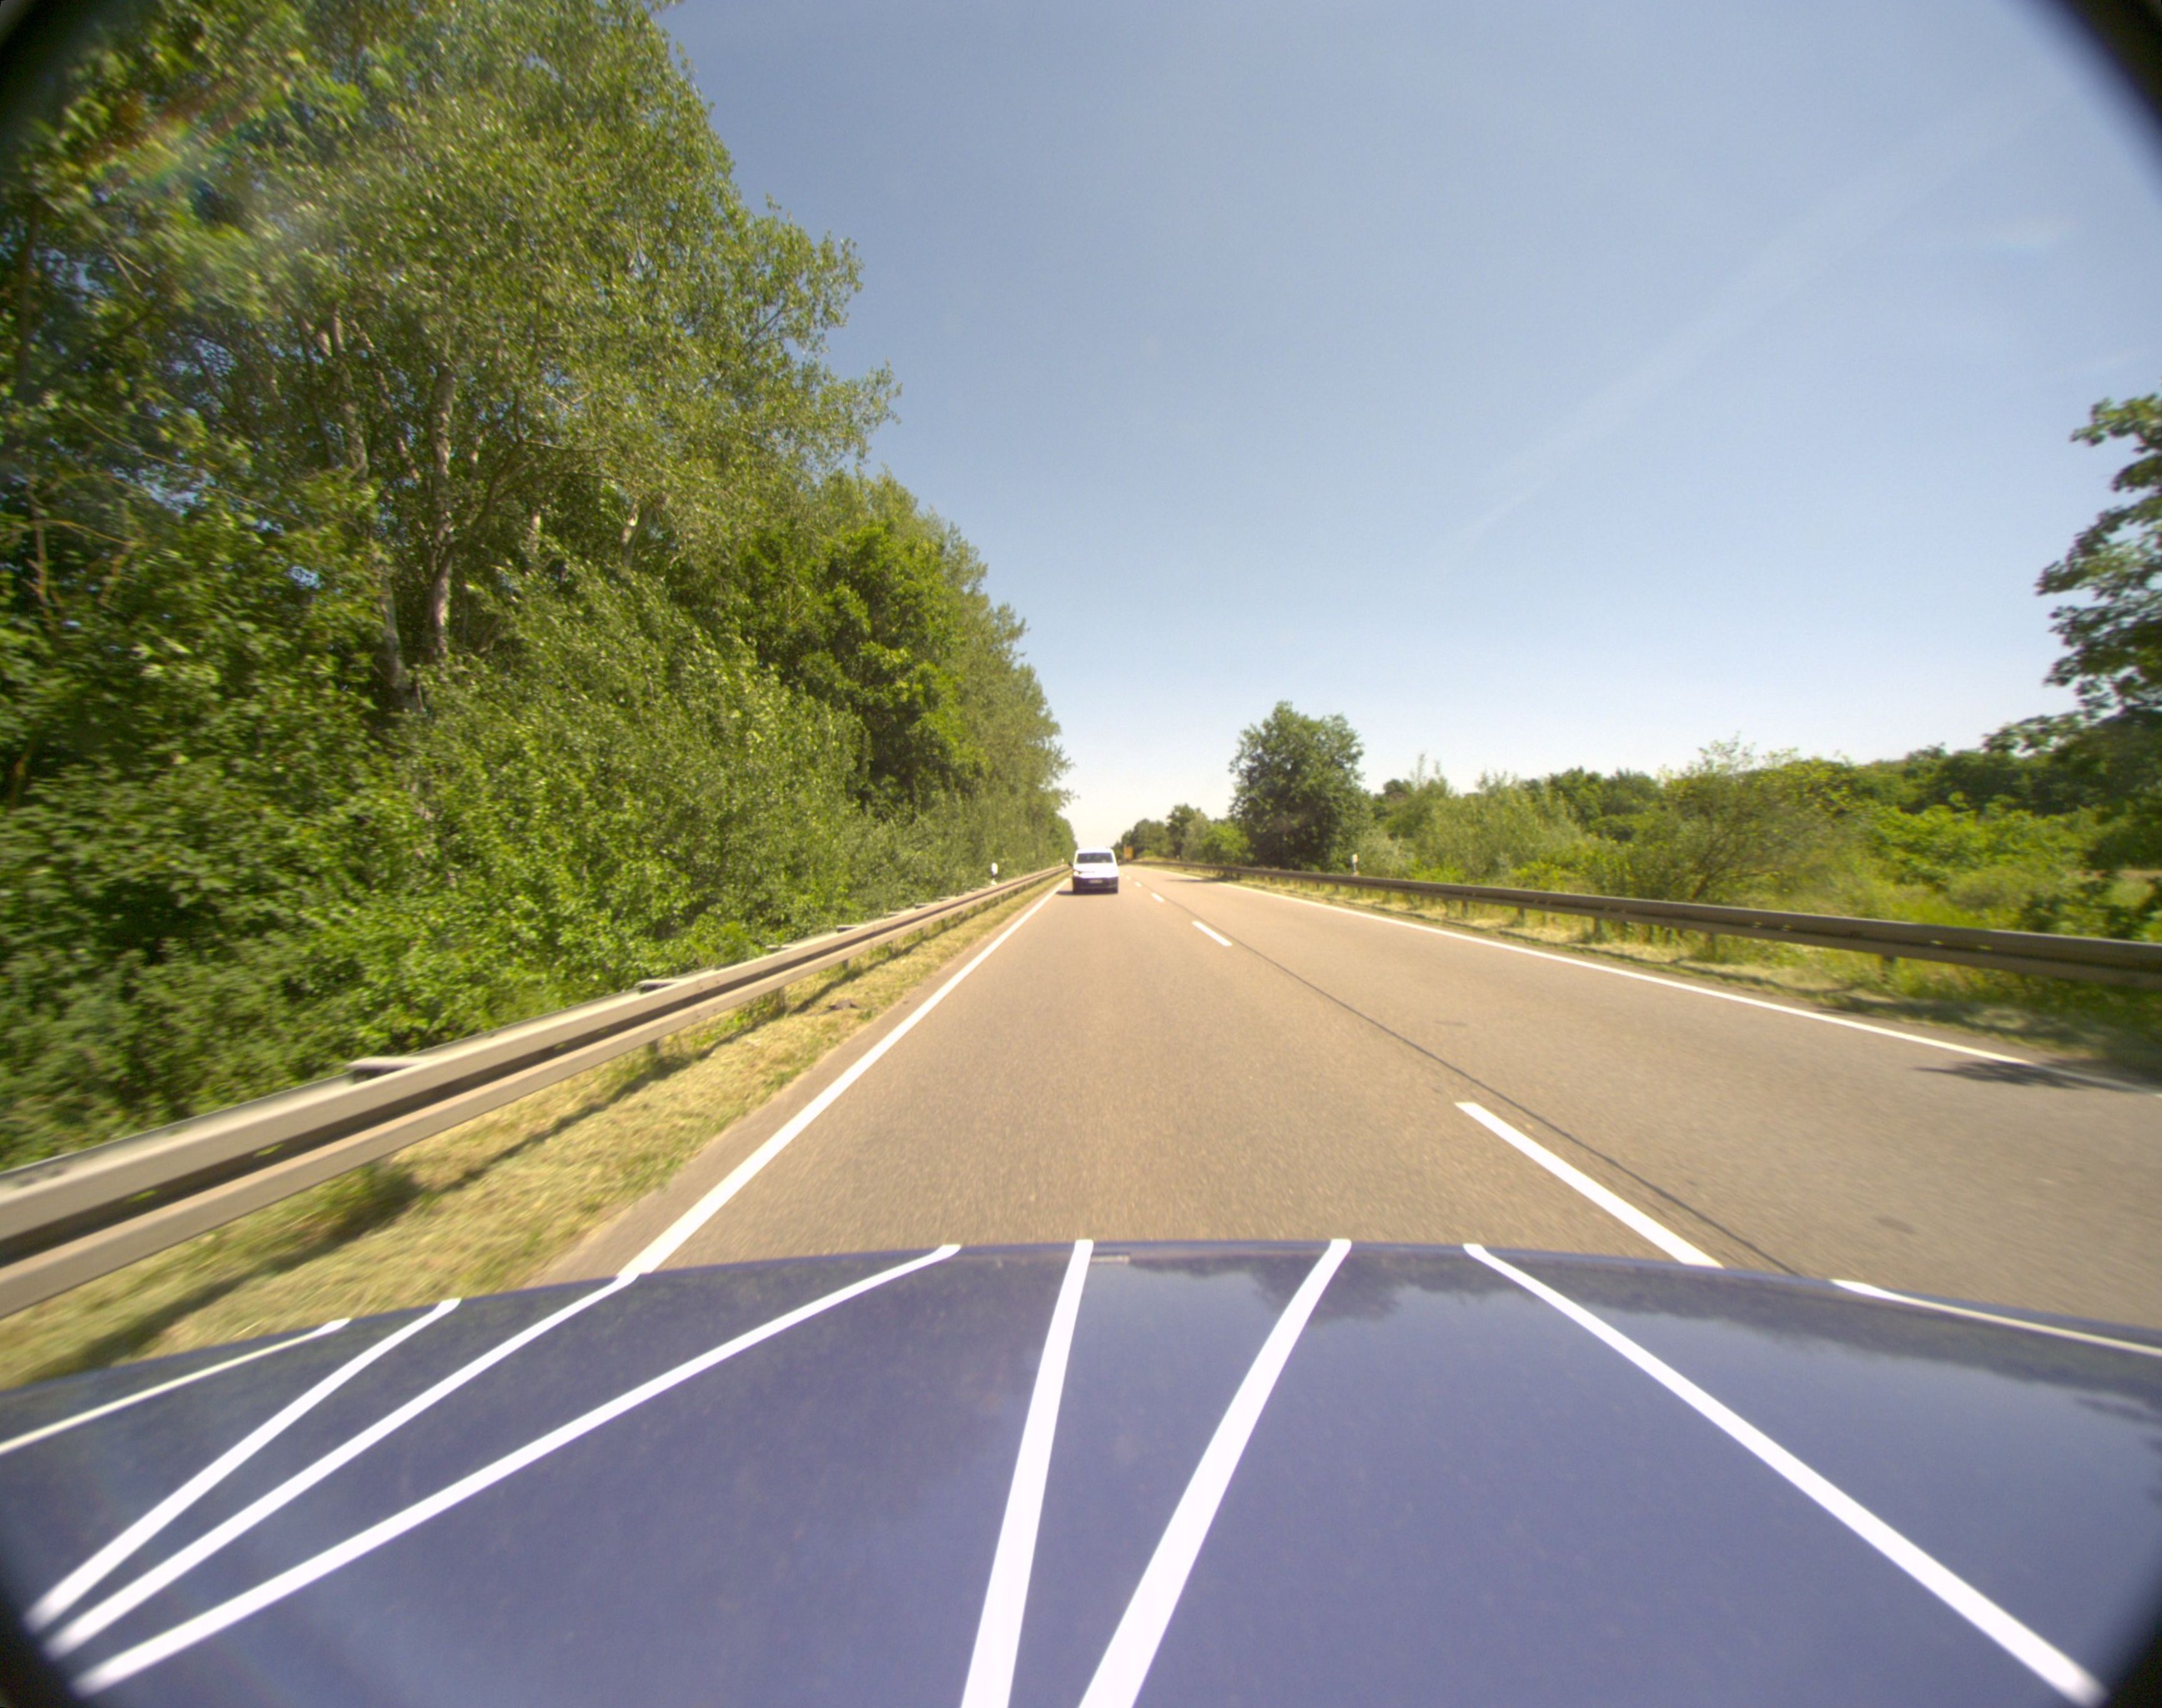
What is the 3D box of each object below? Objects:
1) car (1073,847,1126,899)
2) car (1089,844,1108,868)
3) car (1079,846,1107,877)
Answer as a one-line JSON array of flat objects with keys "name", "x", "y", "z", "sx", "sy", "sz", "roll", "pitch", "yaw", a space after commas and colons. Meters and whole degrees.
[{"name": "car", "x": 0.714, "y": 0.665, "z": 28.655, "sx": 1.782, "sy": 1.743, "sz": 4.512, "roll": -2, "pitch": 0, "yaw": 1}, {"name": "car", "x": 1.817, "y": 0.213, "z": 77.017, "sx": 1.782, "sy": 2.287, "sz": 4.106, "roll": -2, "pitch": 0, "yaw": 1}, {"name": "car", "x": 0.819, "y": 0.522, "z": 52.096, "sx": 1.782, "sy": 1.960, "sz": 4.106, "roll": -2, "pitch": 0, "yaw": 1}]
